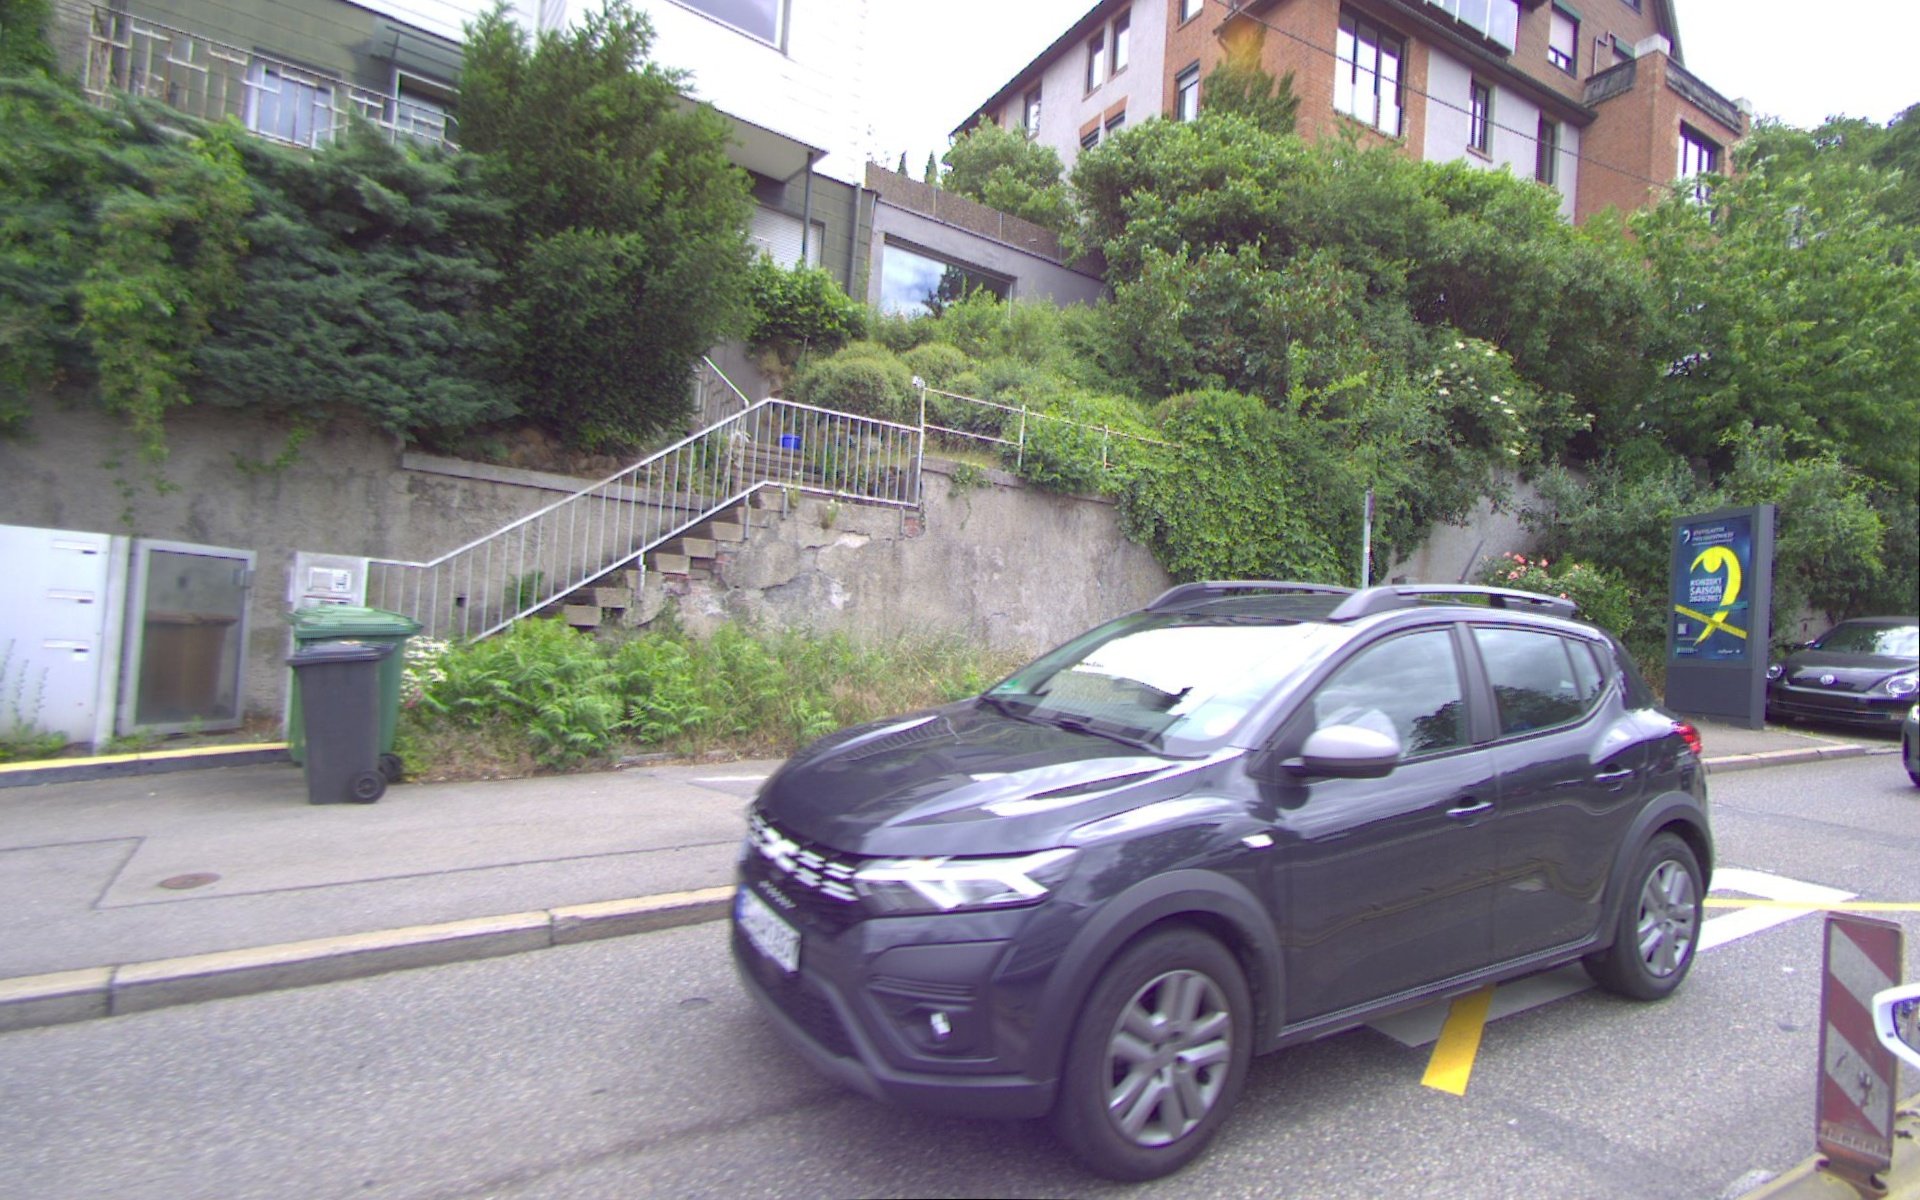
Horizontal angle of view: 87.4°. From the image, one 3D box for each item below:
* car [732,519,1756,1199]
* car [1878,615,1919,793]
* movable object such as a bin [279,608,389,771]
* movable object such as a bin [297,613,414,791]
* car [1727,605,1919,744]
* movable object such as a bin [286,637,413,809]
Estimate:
[{"bbox_3d":[1.223,0.659,3.992,3.775,1.644,1.806,1,1,-31],"label":"car"},{"bbox_3d":[10.335,0.967,8.969,4.274,1.502,1.788,2,1,-28],"label":"car"},{"bbox_3d":[-4.374,0.600,7.035,0.617,1.068,0.465,1,1,-32],"label":"movable object such as a bin"},{"bbox_3d":[-3.894,0.630,6.483,0.617,1.068,0.465,1,1,-32],"label":"movable object such as a bin"},{"bbox_3d":[12.312,0.906,13.337,3.948,1.530,1.788,1,2,-27],"label":"car"},{"bbox_3d":[-3.663,0.709,6.040,0.617,0.947,0.465,1,1,-32],"label":"movable object such as a bin"}]
